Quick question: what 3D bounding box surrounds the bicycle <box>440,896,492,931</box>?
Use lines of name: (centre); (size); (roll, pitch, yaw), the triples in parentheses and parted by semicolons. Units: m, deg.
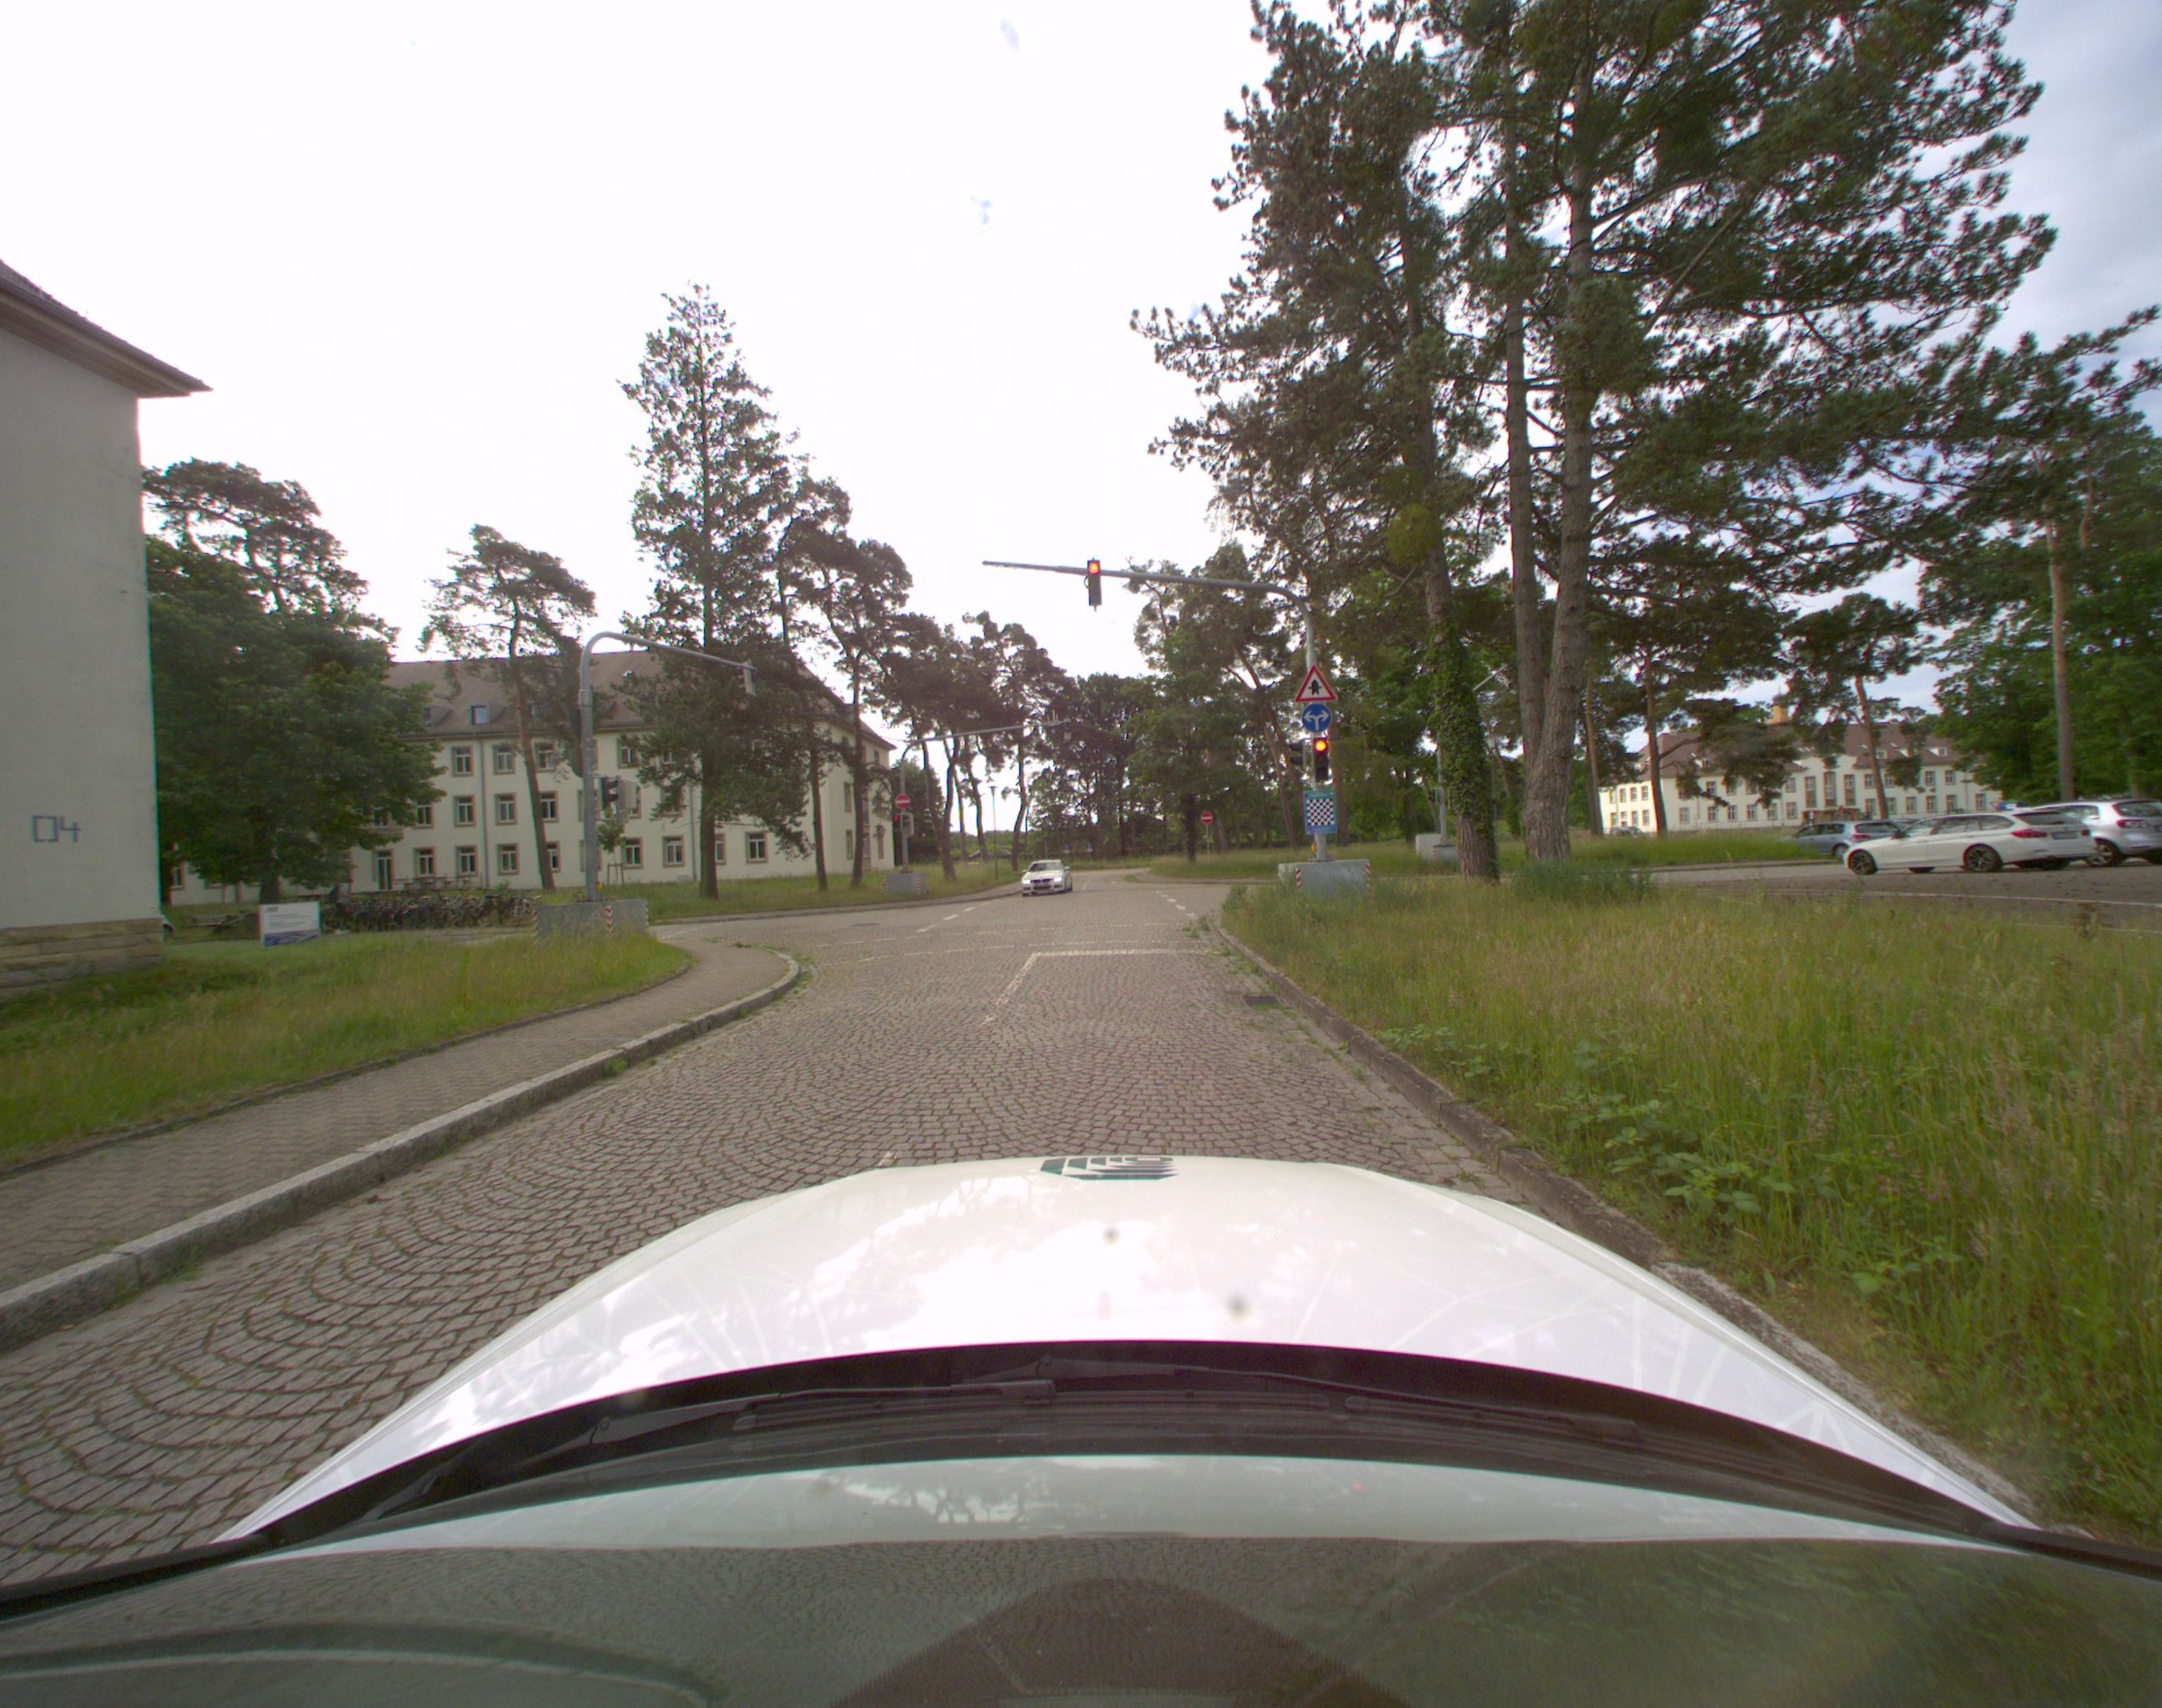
bicycle: (-21.229, 2.038, 28.155); (0.512, 1.079, 1.586); (-3, 0, 2)

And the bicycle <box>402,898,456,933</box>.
bicycle: (-22.481, 2.097, 28.102); (0.512, 1.079, 1.586); (-3, 0, 2)

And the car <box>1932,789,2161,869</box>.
car: (24.225, -0.543, 20.135); (1.777, 1.605, 4.240); (-3, -3, -1)

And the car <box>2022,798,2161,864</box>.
car: (26.856, -0.600, 20.396); (1.694, 1.485, 4.246); (-3, -3, 3)

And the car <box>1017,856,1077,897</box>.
car: (-1.354, 0.927, 33.968); (1.764, 1.438, 4.225); (-6, -2, 6)

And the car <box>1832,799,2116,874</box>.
car: (21.593, -0.321, 20.056); (1.843, 1.487, 4.606); (-1, -3, -1)

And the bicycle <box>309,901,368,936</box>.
bicycle: (-25.639, 2.218, 28.158); (0.512, 1.079, 1.586); (-3, 0, 2)

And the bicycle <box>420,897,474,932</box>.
bicycle: (-21.860, 2.062, 28.116); (0.512, 1.079, 1.586); (-3, 0, 2)

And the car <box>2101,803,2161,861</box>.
car: (29.604, -0.682, 20.840); (1.694, 1.485, 4.246); (-3, -3, 3)

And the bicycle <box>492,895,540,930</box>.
bicycle: (-19.488, 2.002, 28.125); (0.513, 1.079, 1.584); (-3, 0, -1)

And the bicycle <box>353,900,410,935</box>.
bicycle: (-24.112, 2.180, 28.106); (0.512, 1.079, 1.586); (-3, 0, 2)

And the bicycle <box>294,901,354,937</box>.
bicycle: (-26.140, 2.228, 28.154); (0.512, 1.079, 1.586); (-3, 0, 2)

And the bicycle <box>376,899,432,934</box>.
bicycle: (-23.317, 2.146, 28.097); (0.512, 1.079, 1.586); (-3, 0, 2)

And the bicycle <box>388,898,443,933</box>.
bicycle: (-22.933, 2.109, 28.100); (0.512, 1.079, 1.586); (-3, 0, 2)

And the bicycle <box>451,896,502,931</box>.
bicycle: (-20.868, 2.031, 28.146); (0.512, 1.079, 1.586); (-3, 0, 2)

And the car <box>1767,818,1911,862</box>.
car: (29.035, -0.495, 31.407); (1.727, 1.509, 4.247); (-2, 0, 3)

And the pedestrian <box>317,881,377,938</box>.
pedestrian: (-24.742, 1.853, 27.462); (1.050, 1.788, 1.165); (-2, 1, 30)

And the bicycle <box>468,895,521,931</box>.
bicycle: (-20.167, 2.015, 28.045); (0.512, 1.079, 1.587); (-3, 0, 5)

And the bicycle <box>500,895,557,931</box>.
bicycle: (-18.109, 1.932, 26.725); (1.460, 1.079, 0.516); (-3, -1, -1)
